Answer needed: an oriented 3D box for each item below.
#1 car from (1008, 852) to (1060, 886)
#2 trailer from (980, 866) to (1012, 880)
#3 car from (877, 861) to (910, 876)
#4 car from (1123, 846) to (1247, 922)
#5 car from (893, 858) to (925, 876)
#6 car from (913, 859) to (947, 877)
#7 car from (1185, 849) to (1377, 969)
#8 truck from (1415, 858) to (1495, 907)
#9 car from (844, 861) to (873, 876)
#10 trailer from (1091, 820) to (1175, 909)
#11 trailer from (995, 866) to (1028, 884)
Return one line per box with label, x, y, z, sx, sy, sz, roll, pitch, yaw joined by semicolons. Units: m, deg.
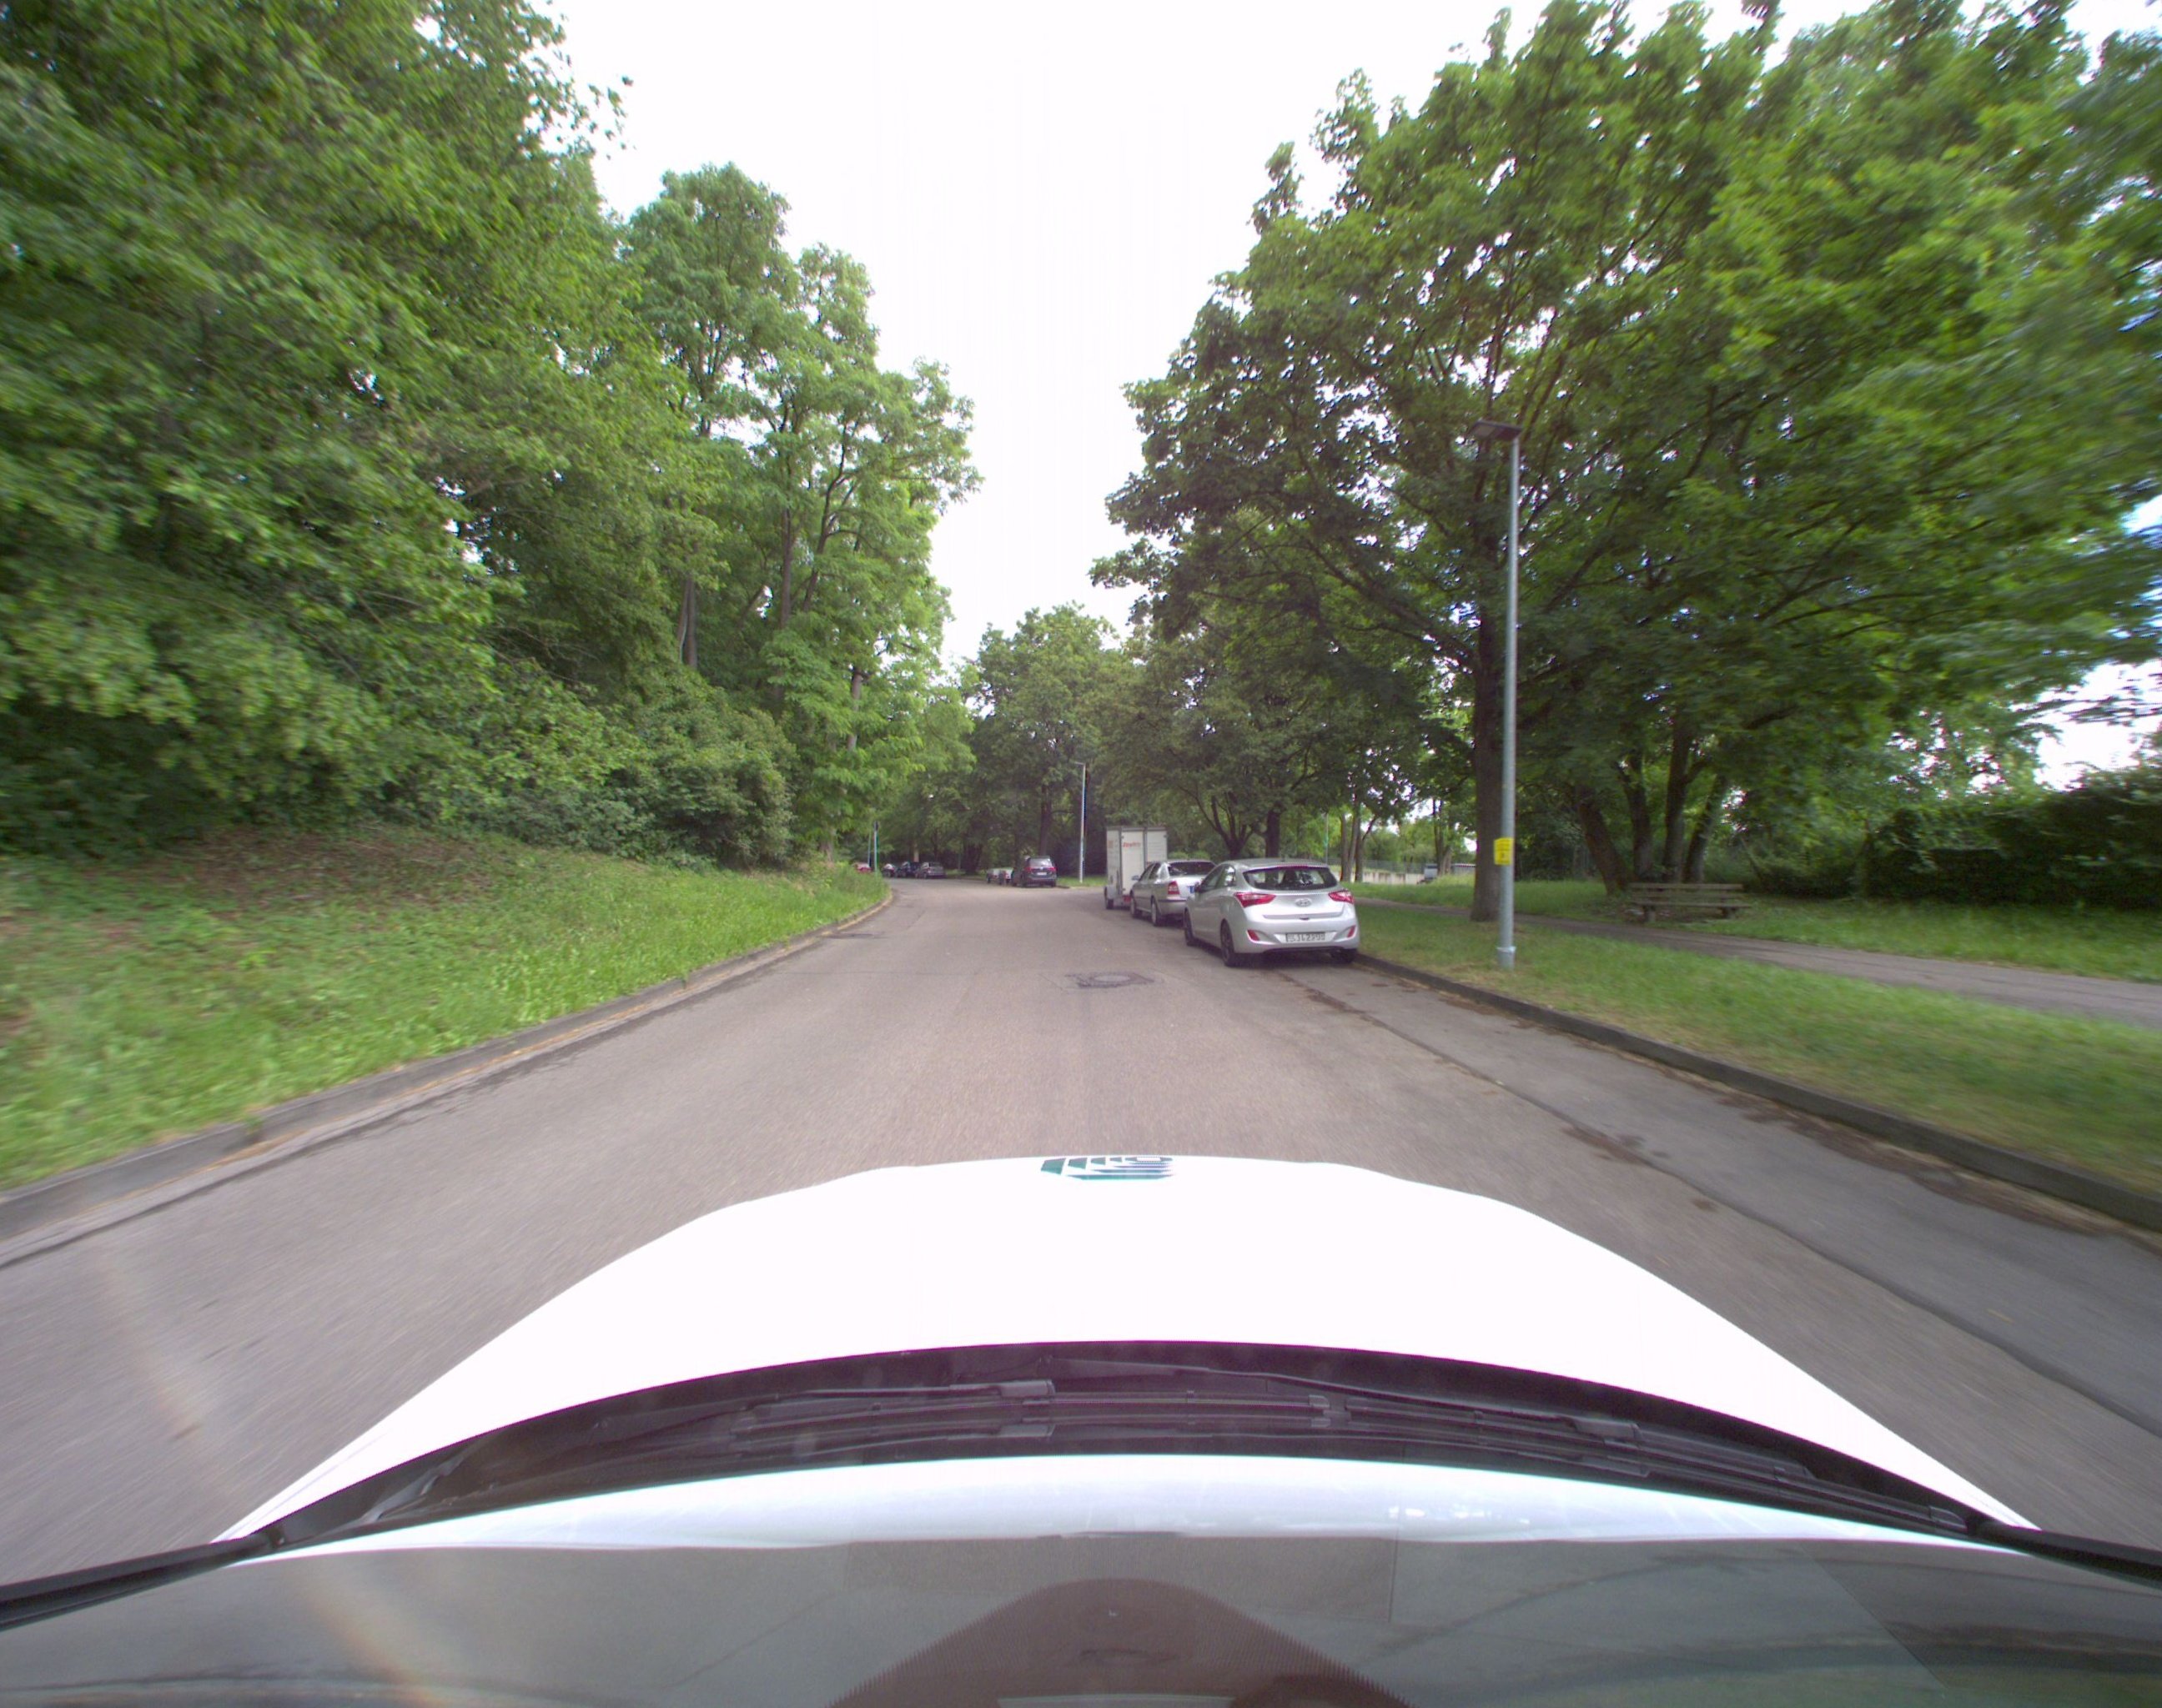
car;-2.540;0.815;43.140;1.779;1.663;4.815;1;-1;-15
trailer;-5.632;1.261;53.524;1.368;0.848;3.257;2;-2;-19
car;-18.401;1.435;79.768;1.762;1.337;4.371;1;-2;-32
car;2.271;0.634;19.050;1.740;1.525;4.623;-1;-1;-8
car;-16.009;1.235;75.695;1.724;1.510;4.142;2;-3;-29
car;-12.970;1.217;69.845;1.727;1.431;3.912;-1;-1;-28
car;2.794;0.714;12.327;1.896;1.476;4.058;1;-1;0
truck;32.511;2.517;70.632;9.621;3.998;2.665;3;-3;-41
car;-24.296;1.550;88.786;1.752;1.562;3.955;0;-2;-36
trailer;1.465;0.303;24.398;1.760;2.427;3.876;-1;0;-8
trailer;-4.203;1.217;48.972;1.359;0.969;3.874;2;0;-14
